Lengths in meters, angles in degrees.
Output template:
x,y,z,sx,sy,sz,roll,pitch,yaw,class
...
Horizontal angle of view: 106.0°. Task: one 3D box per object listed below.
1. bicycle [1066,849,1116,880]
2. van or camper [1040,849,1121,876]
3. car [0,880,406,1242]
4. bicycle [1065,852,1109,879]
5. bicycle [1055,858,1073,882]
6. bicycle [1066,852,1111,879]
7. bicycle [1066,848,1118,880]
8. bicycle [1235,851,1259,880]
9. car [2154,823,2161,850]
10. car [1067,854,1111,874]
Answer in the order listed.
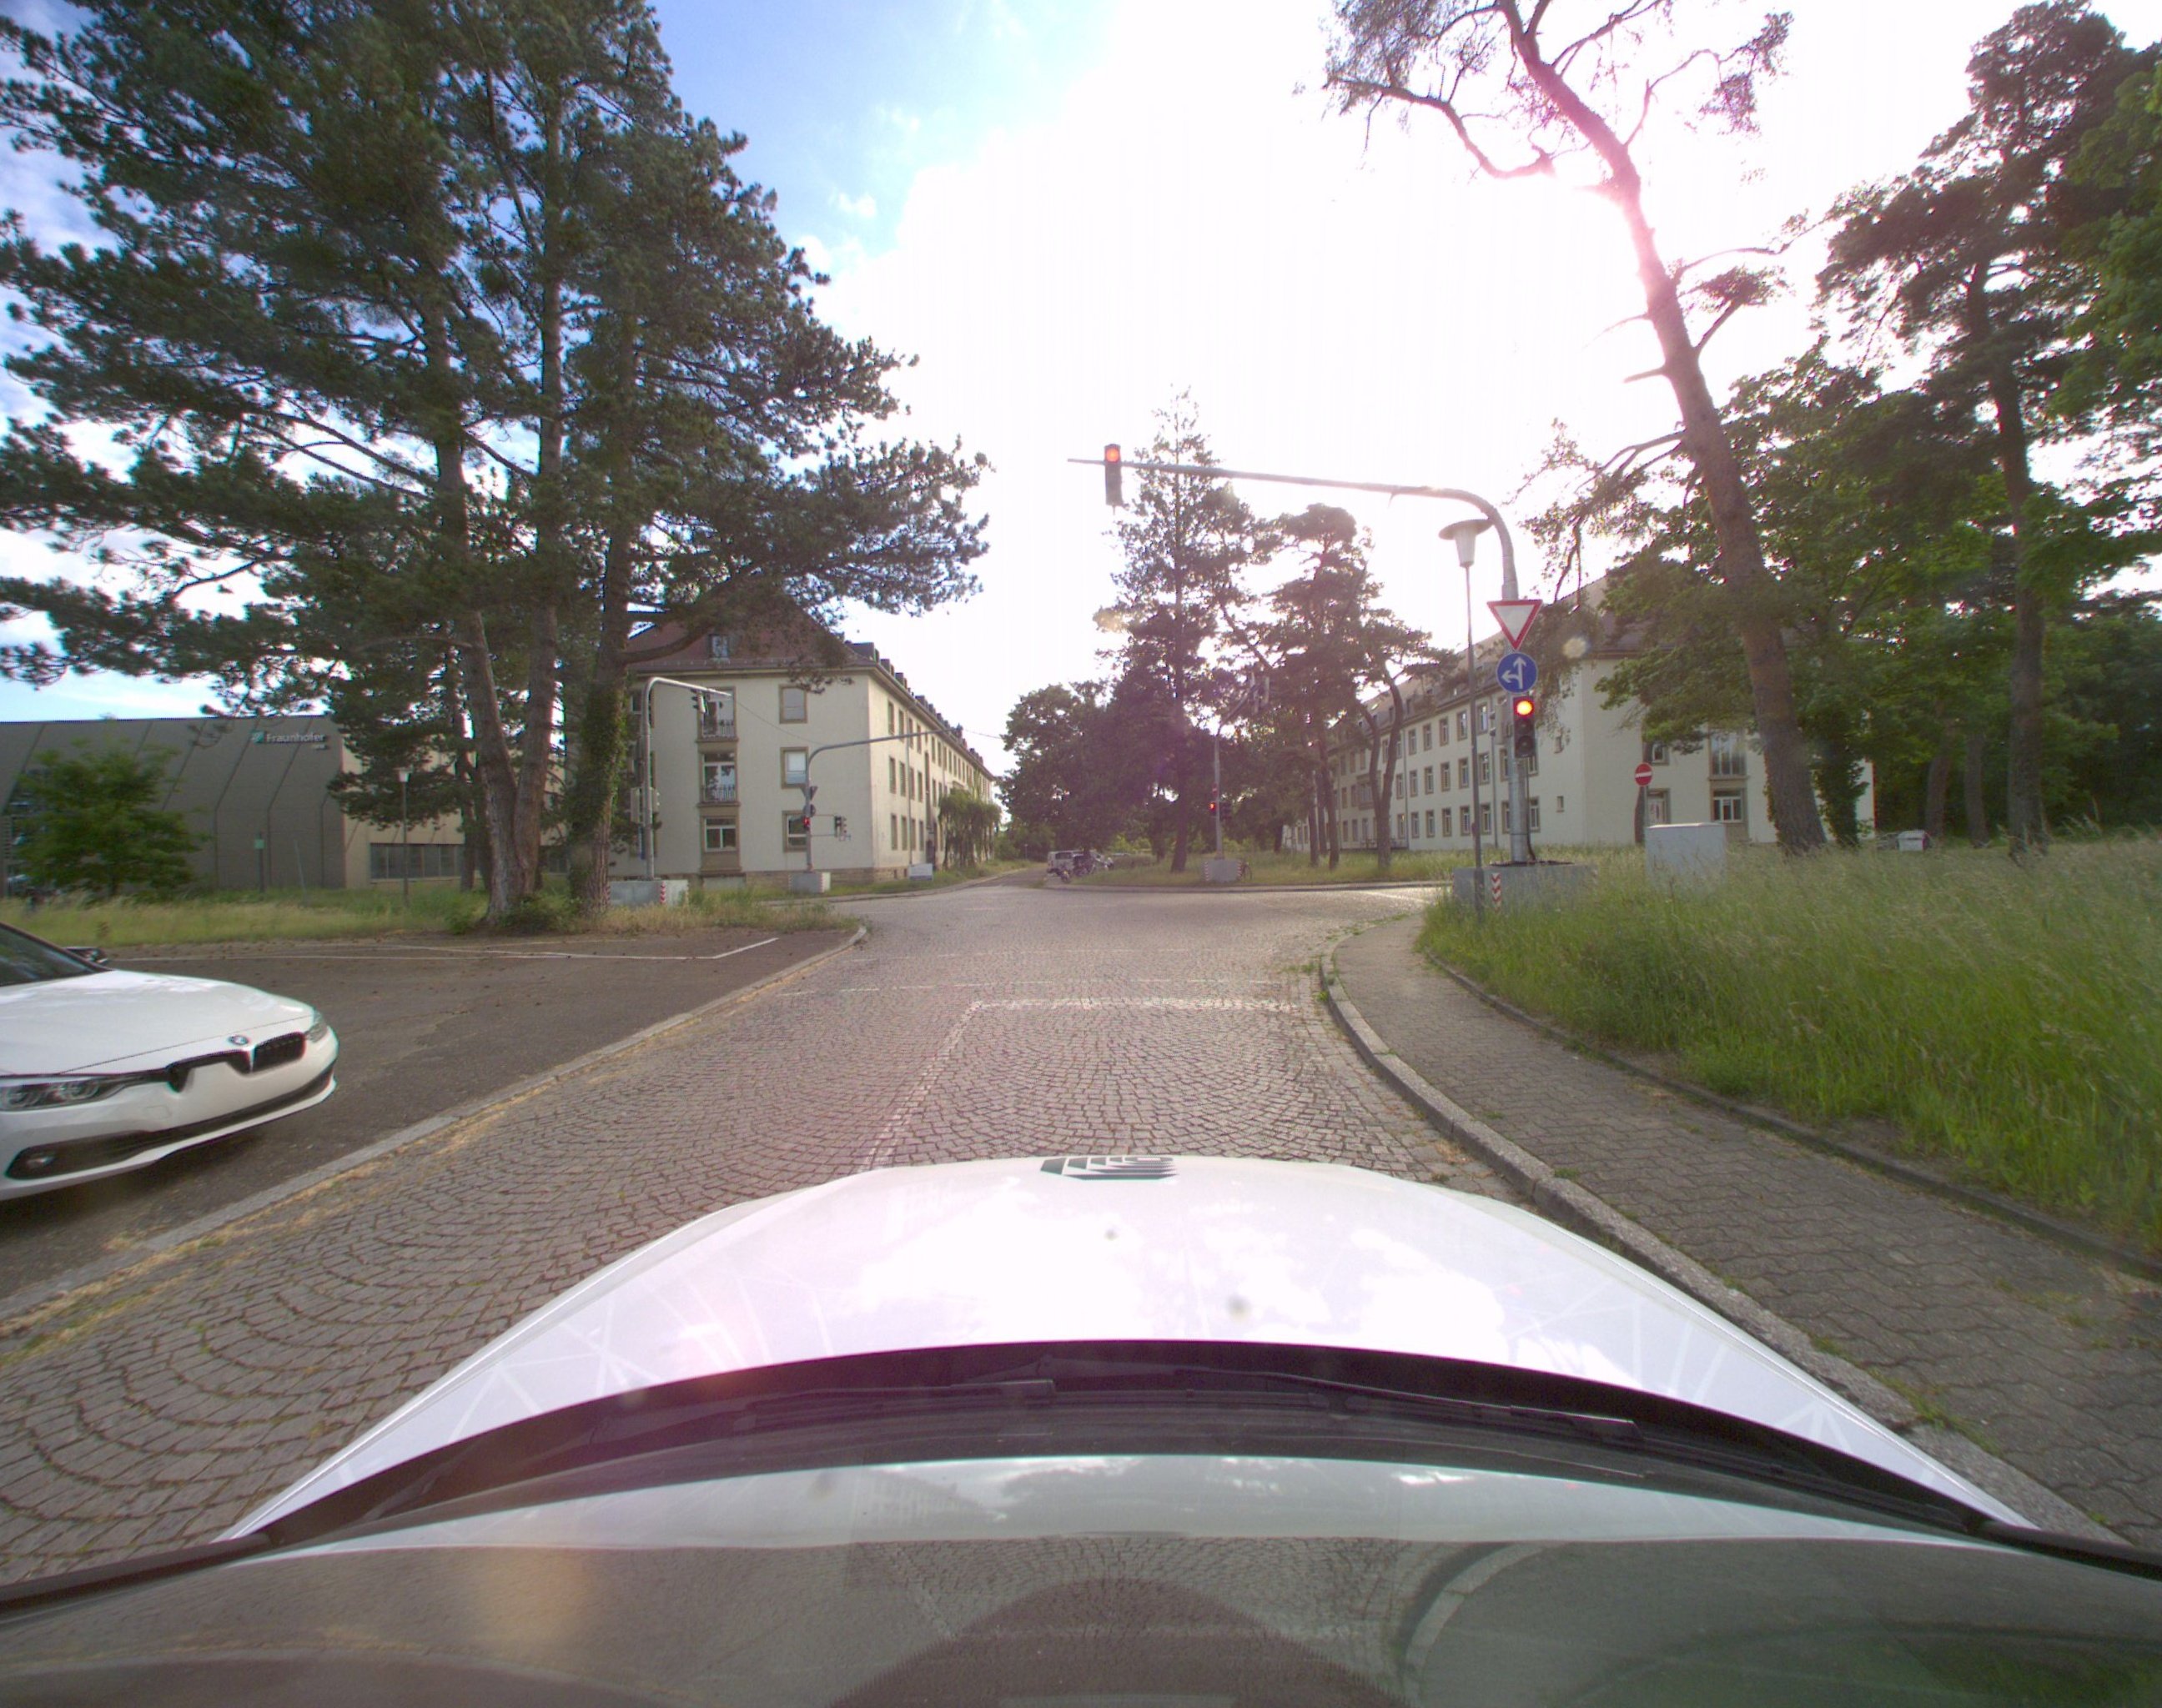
x,y,z,sx,sy,sz,roll,pitch,yaw,class
0.570,0.610,47.491,2.774,1.694,1.117,-2,0,-8,bicycle
-0.075,0.649,64.252,6.042,1.948,1.990,-2,0,-15,van or camper
-6.566,0.883,4.191,4.469,1.442,1.827,1,0,-5,car
0.394,0.707,52.390,2.766,1.694,1.120,0,-1,0,bicycle
-0.856,0.794,41.989,0.723,1.107,2.462,-6,0,1,bicycle
0.489,0.716,51.054,2.764,1.694,1.121,0,-1,3,bicycle
0.604,0.580,46.298,2.772,1.694,1.118,-2,0,-7,bicycle
7.028,0.473,34.628,0.720,1.169,2.741,0,0,6,bicycle
56.721,-0.872,40.809,3.975,1.398,1.563,0,0,-1,car
0.584,0.741,60.688,3.134,1.354,1.616,-2,0,-7,car
